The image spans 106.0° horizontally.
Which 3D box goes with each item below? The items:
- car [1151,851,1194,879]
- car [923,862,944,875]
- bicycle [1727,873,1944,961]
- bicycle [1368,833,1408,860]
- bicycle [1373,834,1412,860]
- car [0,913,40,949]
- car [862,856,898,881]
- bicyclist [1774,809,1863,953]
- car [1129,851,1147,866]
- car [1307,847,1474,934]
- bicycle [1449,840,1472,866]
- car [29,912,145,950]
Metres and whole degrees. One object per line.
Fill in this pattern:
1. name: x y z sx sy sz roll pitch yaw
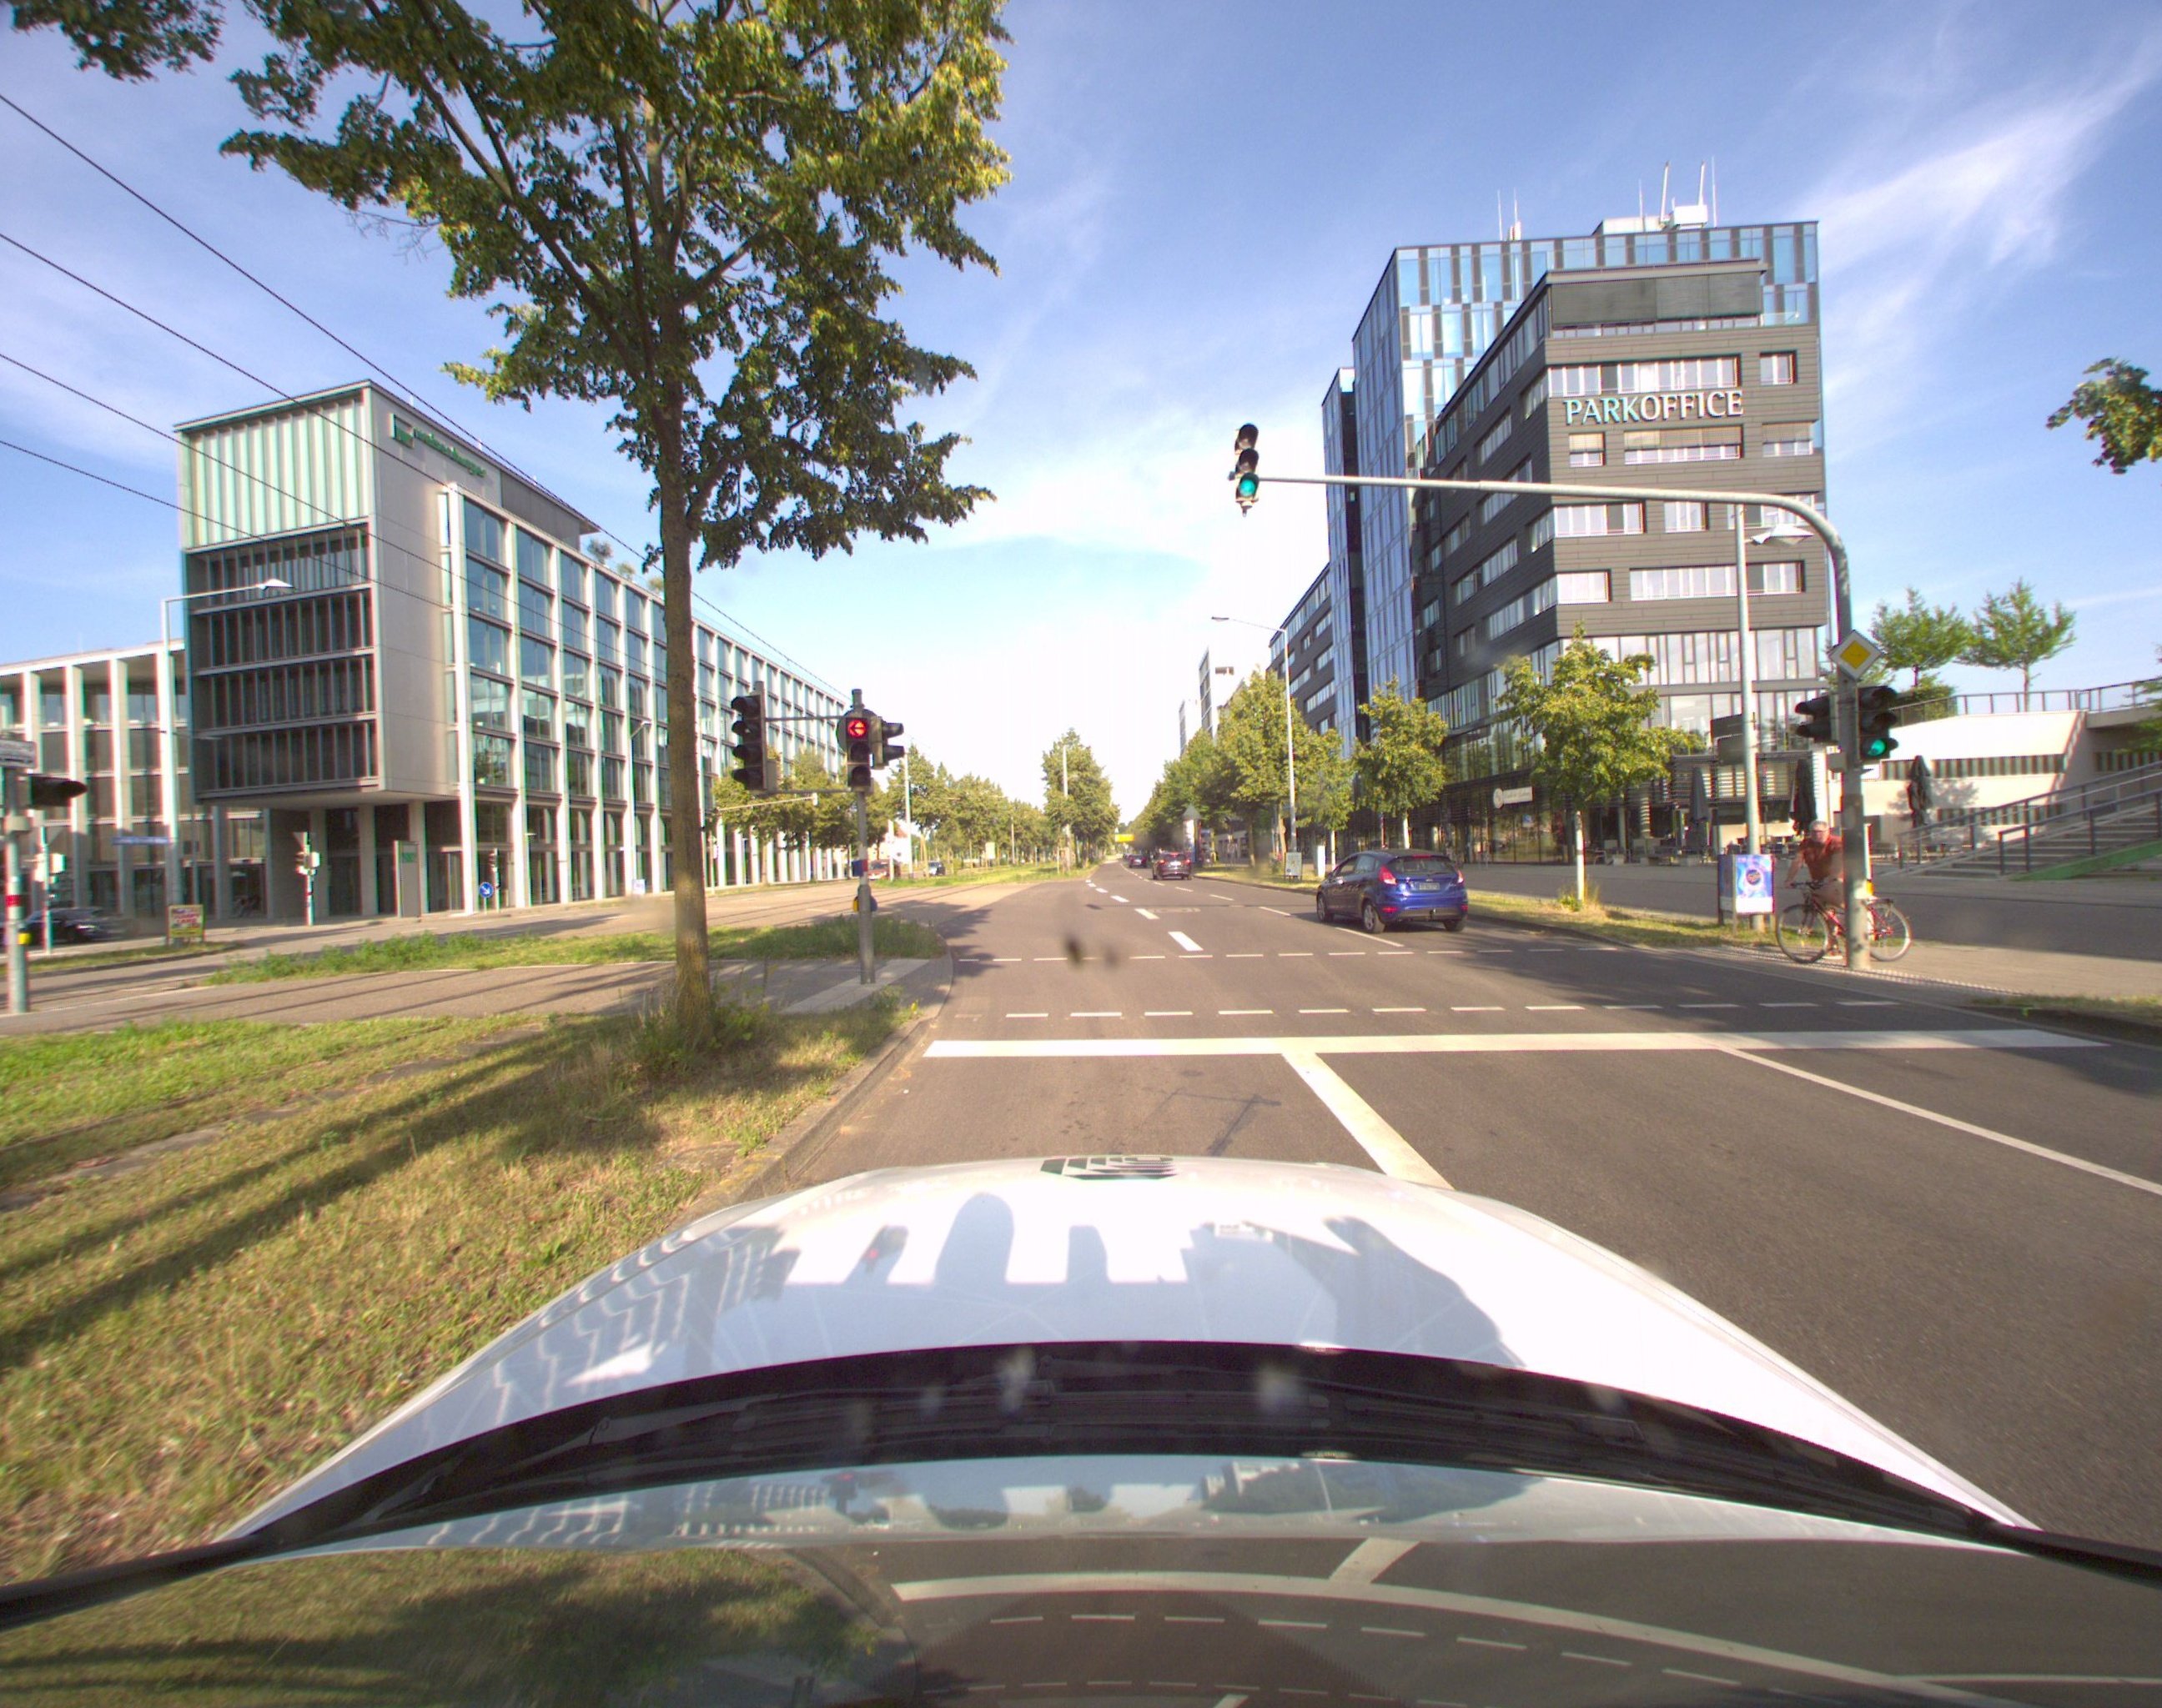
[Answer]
1. car: 4.773 0.559 42.935 1.768 1.424 3.960 -1 0 0
2. car: -16.207 1.571 89.779 1.634 1.443 3.954 -1 0 -2
3. bicycle: 9.171 0.749 9.941 2.127 1.013 0.571 -1 -1 -1
4. bicycle: 21.500 -0.521 57.126 2.548 1.857 0.571 -1 -1 11
5. bicycle: 21.426 -0.496 56.025 2.419 1.746 0.556 -1 -1 11
6. car: -47.634 3.346 35.459 3.638 1.424 1.582 -1 -1 16
7. car: -14.408 1.017 58.484 1.679 1.775 3.880 -1 0 -2
8. bicyclist: 8.978 0.319 9.928 0.573 1.707 0.541 -1 -1 0
9. car: 6.133 0.512 87.534 1.852 1.524 3.787 -1 0 2
10. car: 5.672 0.591 15.416 1.556 1.424 3.904 -1 0 -2
11. bicycle: 20.121 -0.017 43.215 0.371 1.346 1.895 -1 -1 3
12. car: -41.022 3.149 33.645 3.478 1.424 1.580 -1 -1 11
